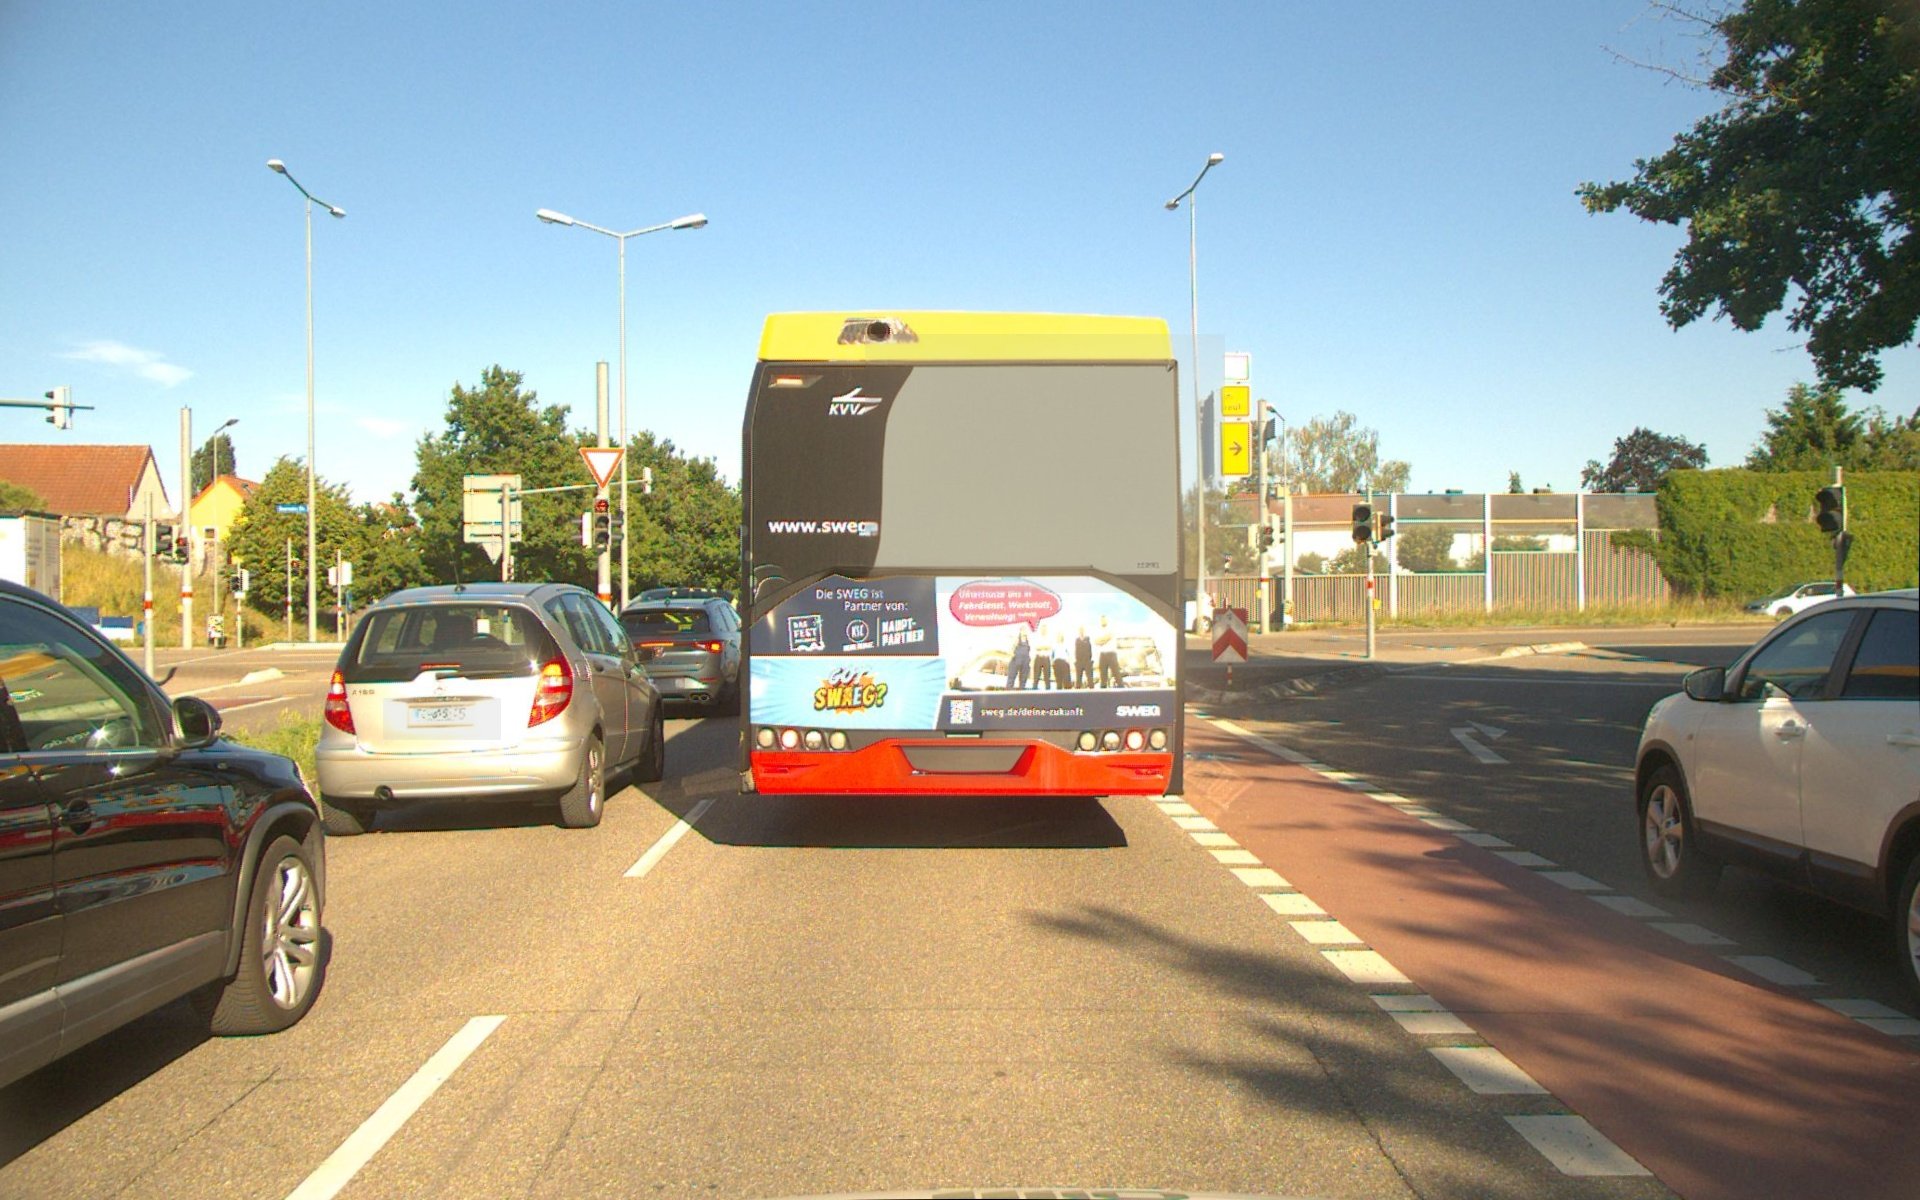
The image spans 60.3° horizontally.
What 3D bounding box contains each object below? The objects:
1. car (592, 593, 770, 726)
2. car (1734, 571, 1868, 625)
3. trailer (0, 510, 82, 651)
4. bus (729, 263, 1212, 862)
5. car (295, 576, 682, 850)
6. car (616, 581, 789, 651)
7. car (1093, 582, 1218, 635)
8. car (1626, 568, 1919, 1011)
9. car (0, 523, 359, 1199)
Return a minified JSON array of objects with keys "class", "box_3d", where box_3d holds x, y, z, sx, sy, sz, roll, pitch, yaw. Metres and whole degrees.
[{"class":"car","box_3d":[-3.449,0.678,21.051,1.658,1.484,3.750,-2,0,-1]},{"class":"car","box_3d":[30.467,-0.055,60.014,3.908,1.847,1.922,1,0,-4]},{"class":"trailer","box_3d":[-34.336,-0.419,48.916,14.376,4.083,3.435,-1,0,-7]},{"class":"bus","box_3d":[0.022,-0.251,14.885,2.589,3.222,11.860,0,0,0]},{"class":"car","box_3d":[-3.216,0.683,12.123,1.725,1.617,3.999,-2,0,-1]},{"class":"car","box_3d":[-6.223,0.366,40.314,1.734,1.552,4.062,-2,0,38]},{"class":"car","box_3d":[6.310,0.268,53.620,3.735,1.641,1.704,1,0,-7]},{"class":"car","box_3d":[4.431,0.701,7.053,1.681,1.635,4.069,0,0,2]},{"class":"car","box_3d":[-3.144,0.688,4.296,1.736,1.682,3.999,-2,0,-1]}]
